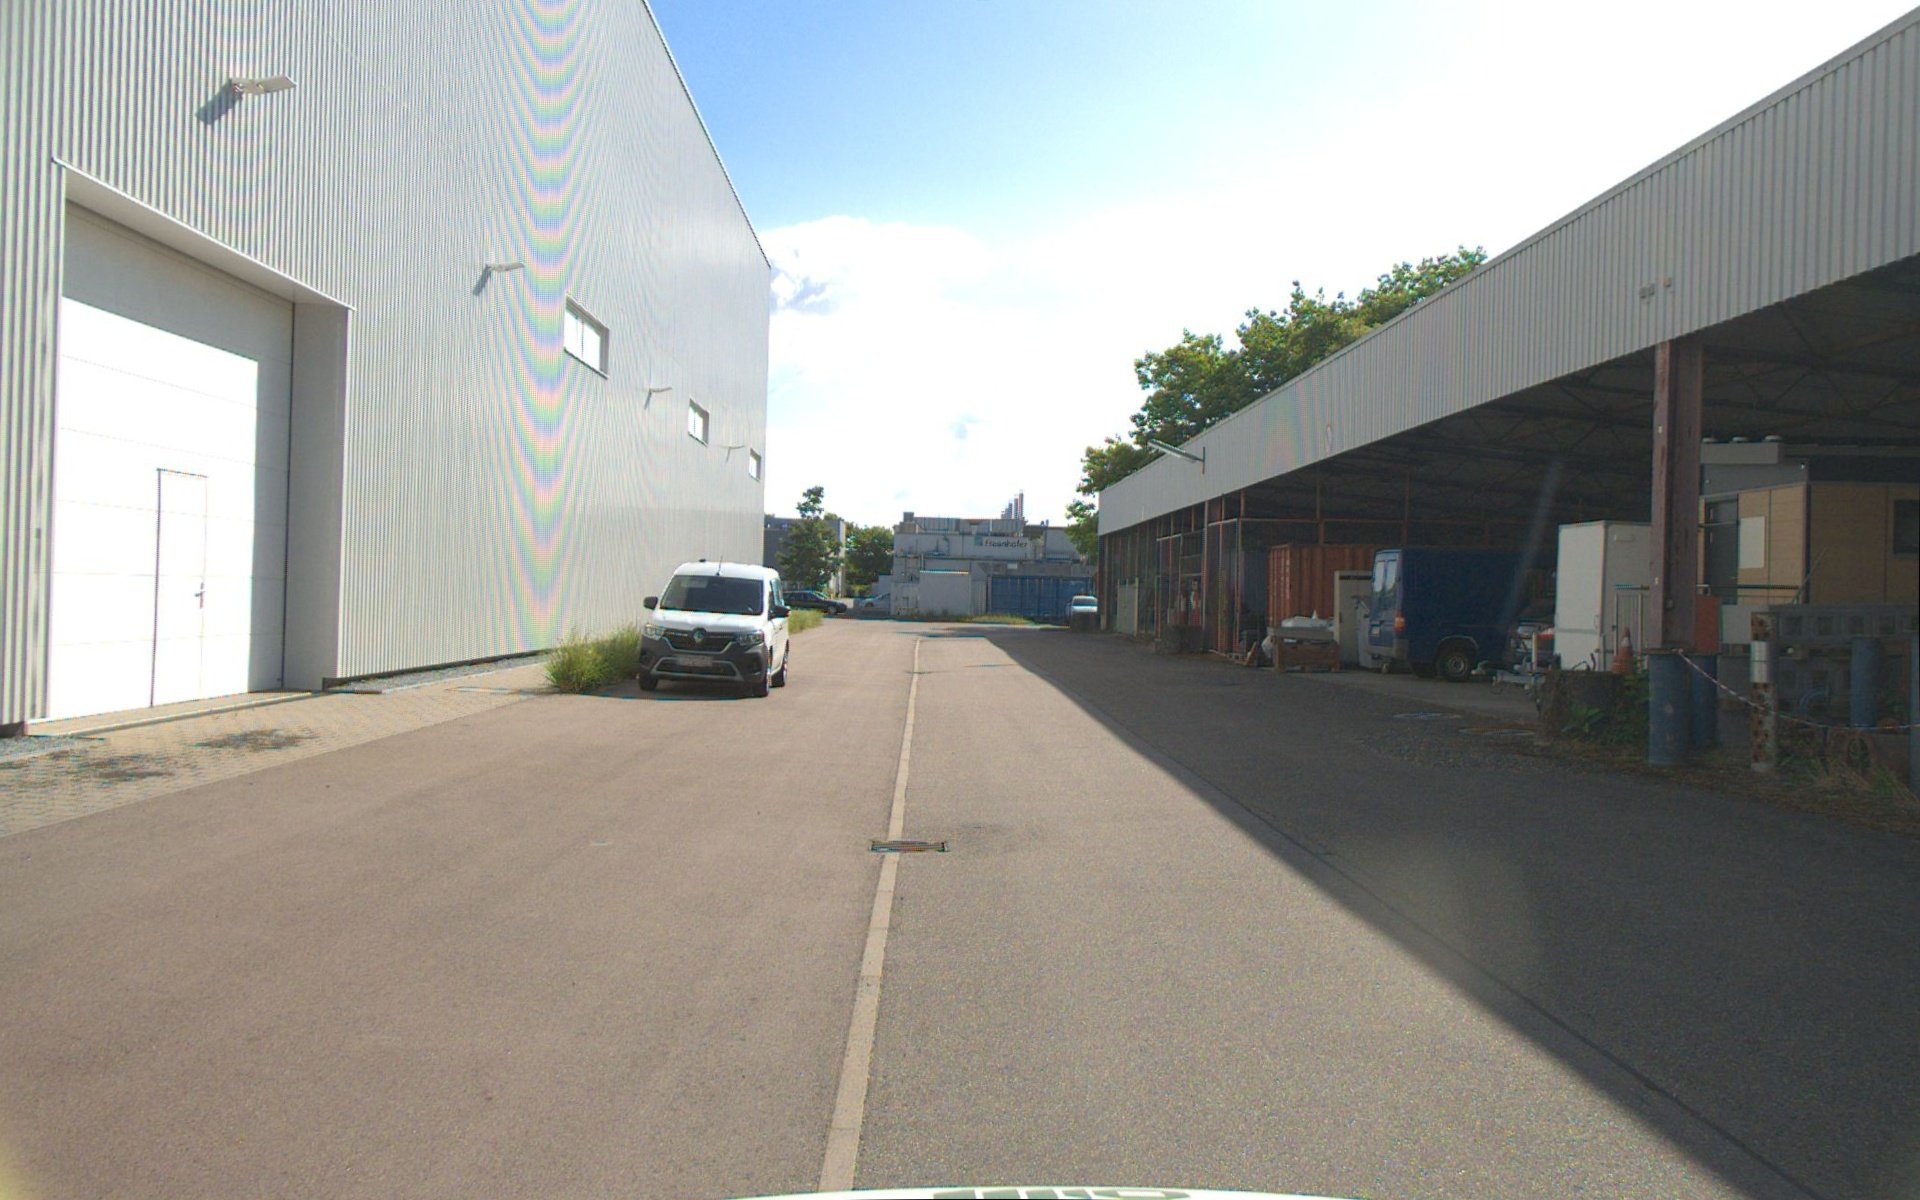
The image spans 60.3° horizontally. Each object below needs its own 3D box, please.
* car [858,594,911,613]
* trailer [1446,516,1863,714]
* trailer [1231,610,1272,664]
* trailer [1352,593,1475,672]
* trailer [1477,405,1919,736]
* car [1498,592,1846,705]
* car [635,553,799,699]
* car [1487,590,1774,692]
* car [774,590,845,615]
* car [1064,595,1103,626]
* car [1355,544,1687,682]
[{"bbox_3d":[-6.110,0.309,133.972,4.216,1.483,1.823,0,0,-2],"label":"car"},{"bbox_3d":[8.651,0.186,20.914,4.424,2.383,2.047,0,0,-1],"label":"trailer"},{"bbox_3d":[6.223,0.773,35.367,0.541,1.138,1.546,0,0,-3],"label":"trailer"},{"bbox_3d":[8.830,0.618,32.327,1.996,1.492,1.739,0,0,3],"label":"trailer"},{"bbox_3d":[11.228,-0.310,18.486,10.059,3.401,2.800,0,0,-1],"label":"trailer"},{"bbox_3d":[10.038,0.661,23.507,4.164,1.497,1.868,1,0,-5],"label":"car"},{"bbox_3d":[-3.438,0.354,24.184,1.747,1.847,4.600,3,0,-1],"label":"car"},{"bbox_3d":[10.724,0.652,26.610,3.886,1.540,1.838,1,-1,-5],"label":"car"},{"bbox_3d":[-9.624,0.153,105.981,4.358,1.558,1.823,0,0,-2],"label":"car"},{"bbox_3d":[6.984,0.557,93.964,1.939,1.630,4.377,0,1,0],"label":"car"},{"bbox_3d":[9.992,0.233,29.746,5.225,2.321,2.152,1,-1,-2],"label":"car"}]
